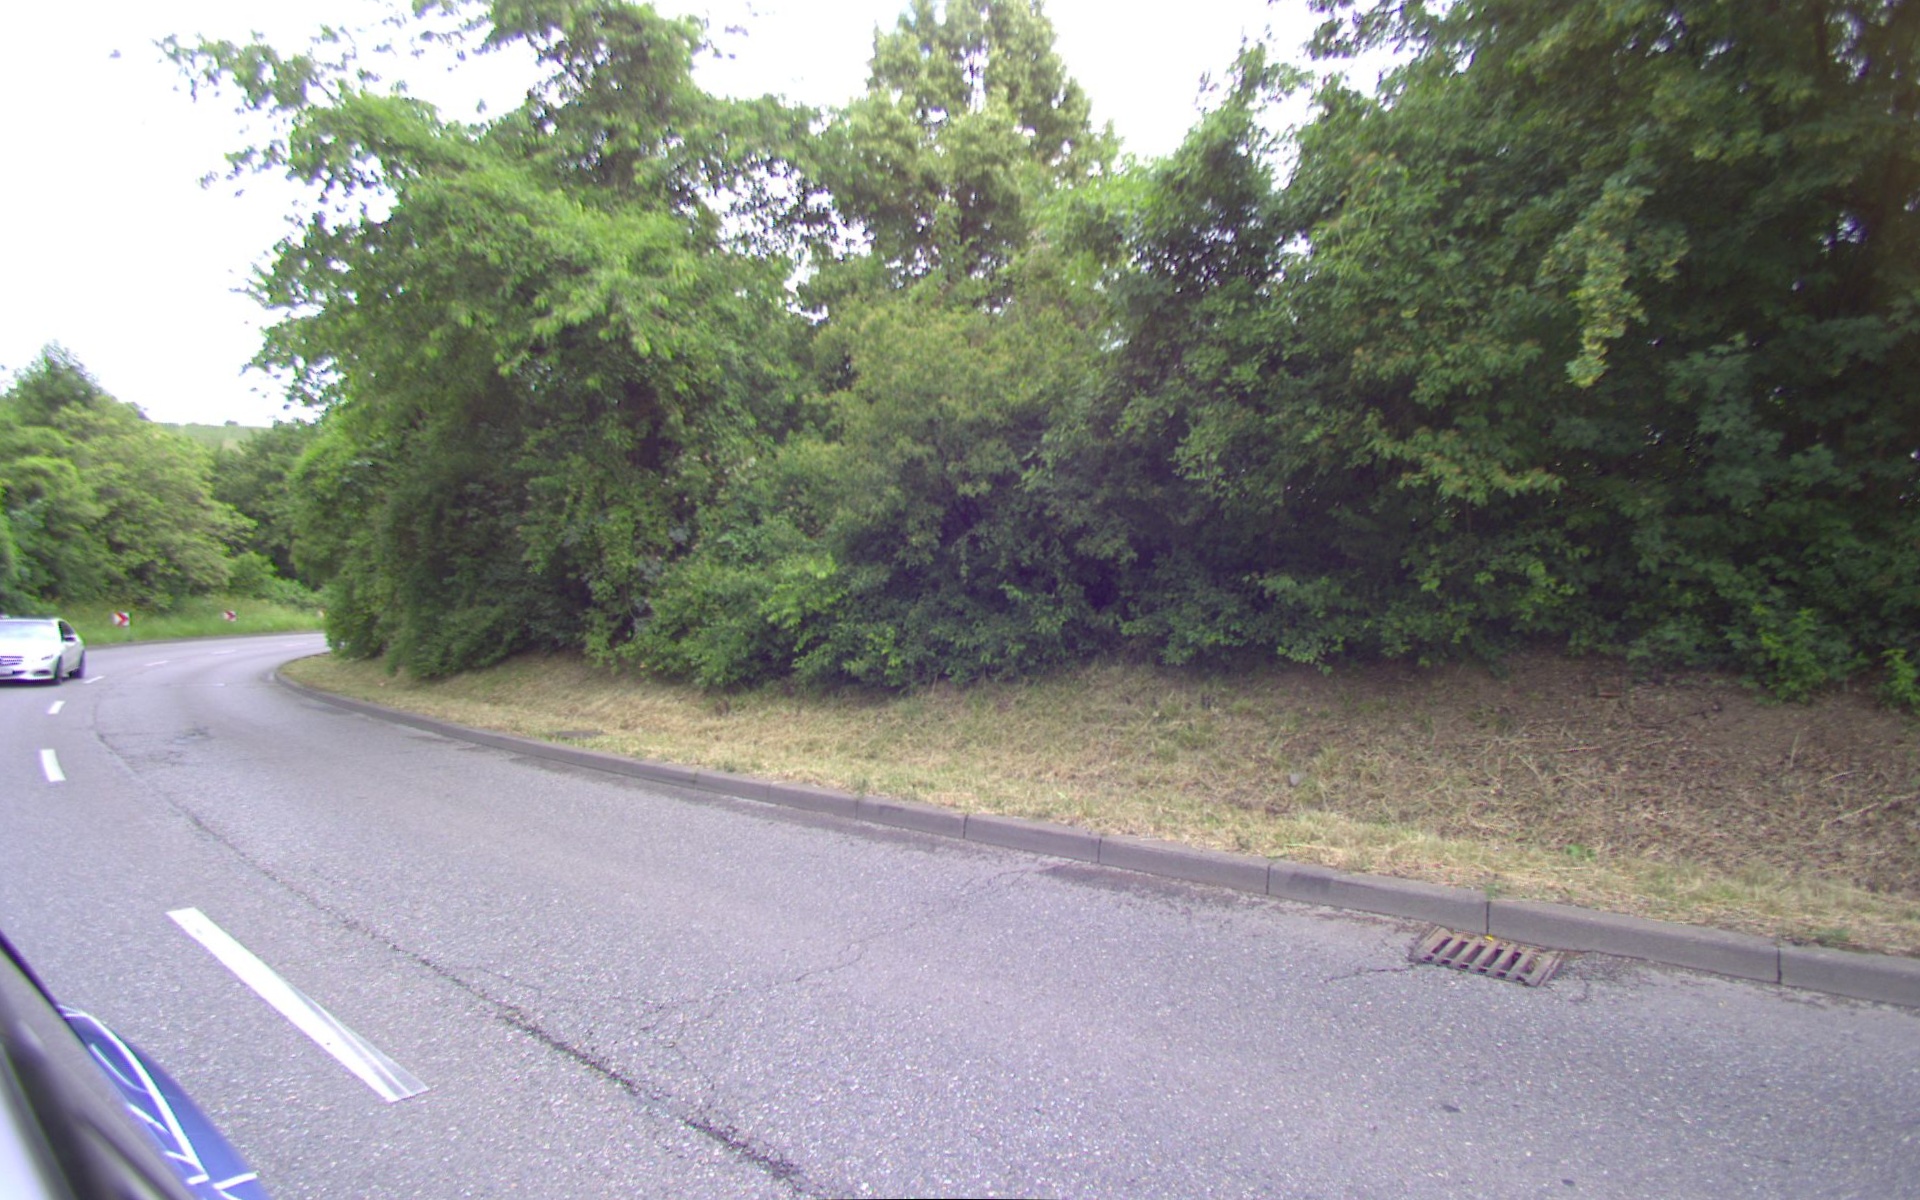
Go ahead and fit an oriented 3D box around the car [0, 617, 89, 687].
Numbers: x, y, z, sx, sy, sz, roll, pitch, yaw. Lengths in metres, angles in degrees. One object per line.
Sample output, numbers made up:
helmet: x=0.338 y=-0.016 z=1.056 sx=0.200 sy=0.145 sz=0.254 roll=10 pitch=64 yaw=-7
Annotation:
car: x=-21.120 y=1.108 z=22.684 sx=1.836 sy=1.442 sz=4.367 roll=1 pitch=-1 yaw=-34
